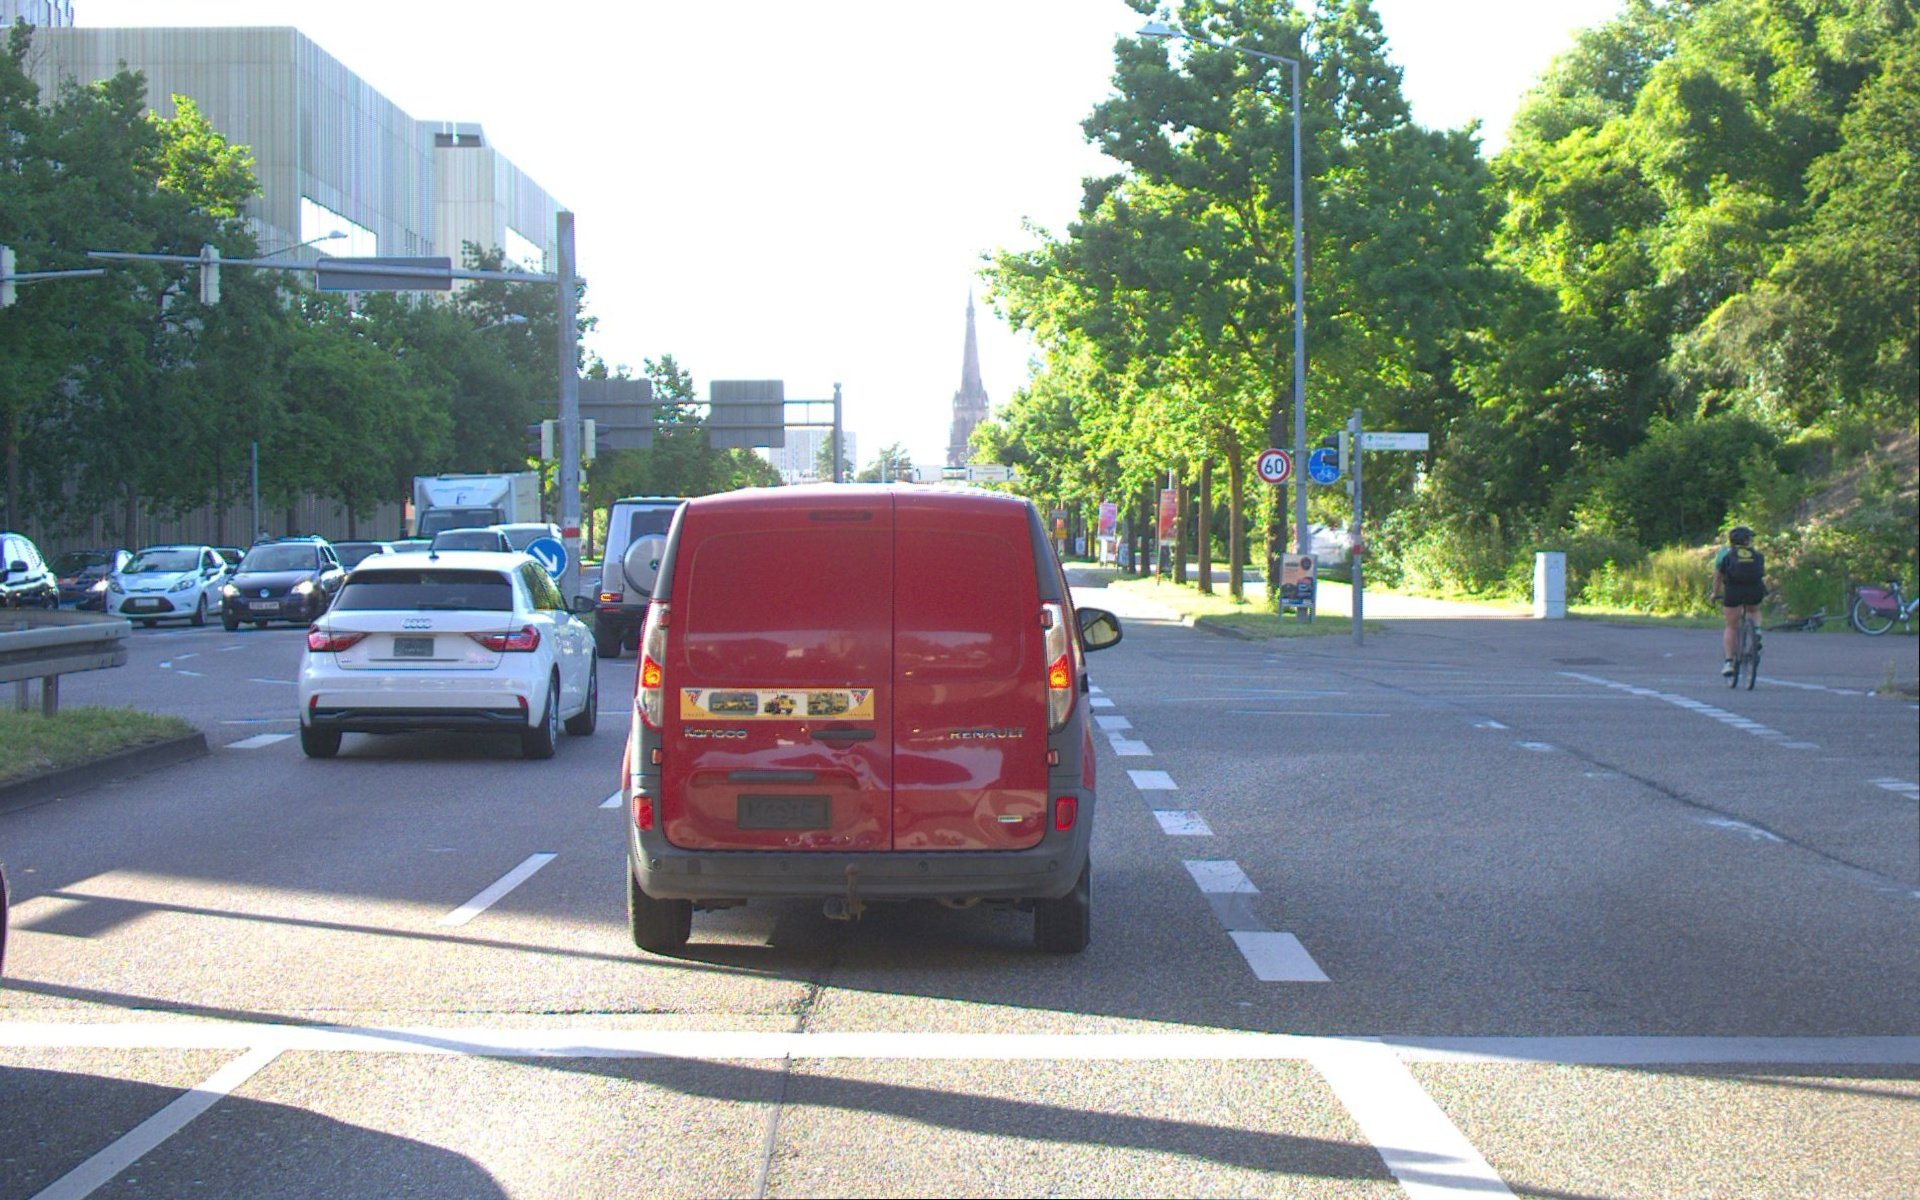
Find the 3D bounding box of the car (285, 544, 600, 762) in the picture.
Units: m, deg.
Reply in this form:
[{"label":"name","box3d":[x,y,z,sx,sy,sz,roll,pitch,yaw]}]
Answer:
[{"label":"car","box3d":[-3.636,0.326,24.712,1.813,1.433,3.731,1,1,-2]}]

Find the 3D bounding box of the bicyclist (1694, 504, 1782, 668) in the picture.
[{"label":"bicyclist","box3d":[7.815,-0.136,34.556,0.591,1.608,0.942,1,-1,-4]}]

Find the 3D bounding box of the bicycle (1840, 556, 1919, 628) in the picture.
[{"label":"bicycle","box3d":[13.799,-0.110,50.272,1.745,1.020,0.593,1,-1,8]}]

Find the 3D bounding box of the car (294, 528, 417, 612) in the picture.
[{"label":"car","box3d":[-11.120,-0.552,63.456,1.636,1.438,4.077,-2,1,-2]}]

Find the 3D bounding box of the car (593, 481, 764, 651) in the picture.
[{"label":"car","box3d":[-3.454,-0.384,42.863,1.801,1.982,4.589,1,0,-1]}]

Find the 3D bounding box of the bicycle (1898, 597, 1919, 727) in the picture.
[{"label":"bicycle","box3d":[7.855,0.489,26.597,0.591,1.020,1.750,1,0,-4]}]

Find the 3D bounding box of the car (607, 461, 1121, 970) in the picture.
[{"label":"car","box3d":[-0.379,0.425,14.267,1.805,1.788,4.000,1,0,-1]}]

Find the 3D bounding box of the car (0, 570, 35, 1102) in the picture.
[{"label":"car","box3d":[-3.533,0.653,7.704,1.733,1.475,4.319,0,0,0]}]

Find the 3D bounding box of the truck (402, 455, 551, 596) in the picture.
[{"label":"truck","box3d":[-11.090,-1.688,79.405,2.409,3.016,6.657,-2,1,0]}]

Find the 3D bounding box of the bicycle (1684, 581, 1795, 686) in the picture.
[{"label":"bicycle","box3d":[7.823,0.337,34.557,0.591,1.020,1.750,1,0,-4]}]

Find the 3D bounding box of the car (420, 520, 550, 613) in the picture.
[{"label":"car","box3d":[-7.952,-0.567,57.831,1.636,1.438,3.719,-2,1,0]}]

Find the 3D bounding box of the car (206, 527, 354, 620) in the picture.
[{"label":"car","box3d":[-11.374,-0.458,57.711,1.636,1.438,4.077,-2,1,0]}]

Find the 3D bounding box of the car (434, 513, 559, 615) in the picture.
[{"label":"car","box3d":[-8.726,-0.679,64.998,1.757,1.790,4.083,-2,1,0]}]

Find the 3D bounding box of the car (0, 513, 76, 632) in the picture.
[{"label":"car","box3d":[-13.978,-0.361,48.418,1.825,1.620,4.529,-2,1,0]}]

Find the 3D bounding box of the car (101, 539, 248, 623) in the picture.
[{"label":"car","box3d":[-14.124,-0.360,62.023,1.646,1.399,3.978,-2,1,1]}]

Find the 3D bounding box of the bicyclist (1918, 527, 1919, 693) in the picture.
[{"label":"bicyclist","box3d":[7.837,-0.041,26.569,0.591,1.543,0.769,1,-1,-4]}]

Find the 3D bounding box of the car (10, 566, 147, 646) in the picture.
[{"label":"car","box3d":[-16.916,0.102,66.131,1.646,1.429,3.492,-2,1,1]}]
